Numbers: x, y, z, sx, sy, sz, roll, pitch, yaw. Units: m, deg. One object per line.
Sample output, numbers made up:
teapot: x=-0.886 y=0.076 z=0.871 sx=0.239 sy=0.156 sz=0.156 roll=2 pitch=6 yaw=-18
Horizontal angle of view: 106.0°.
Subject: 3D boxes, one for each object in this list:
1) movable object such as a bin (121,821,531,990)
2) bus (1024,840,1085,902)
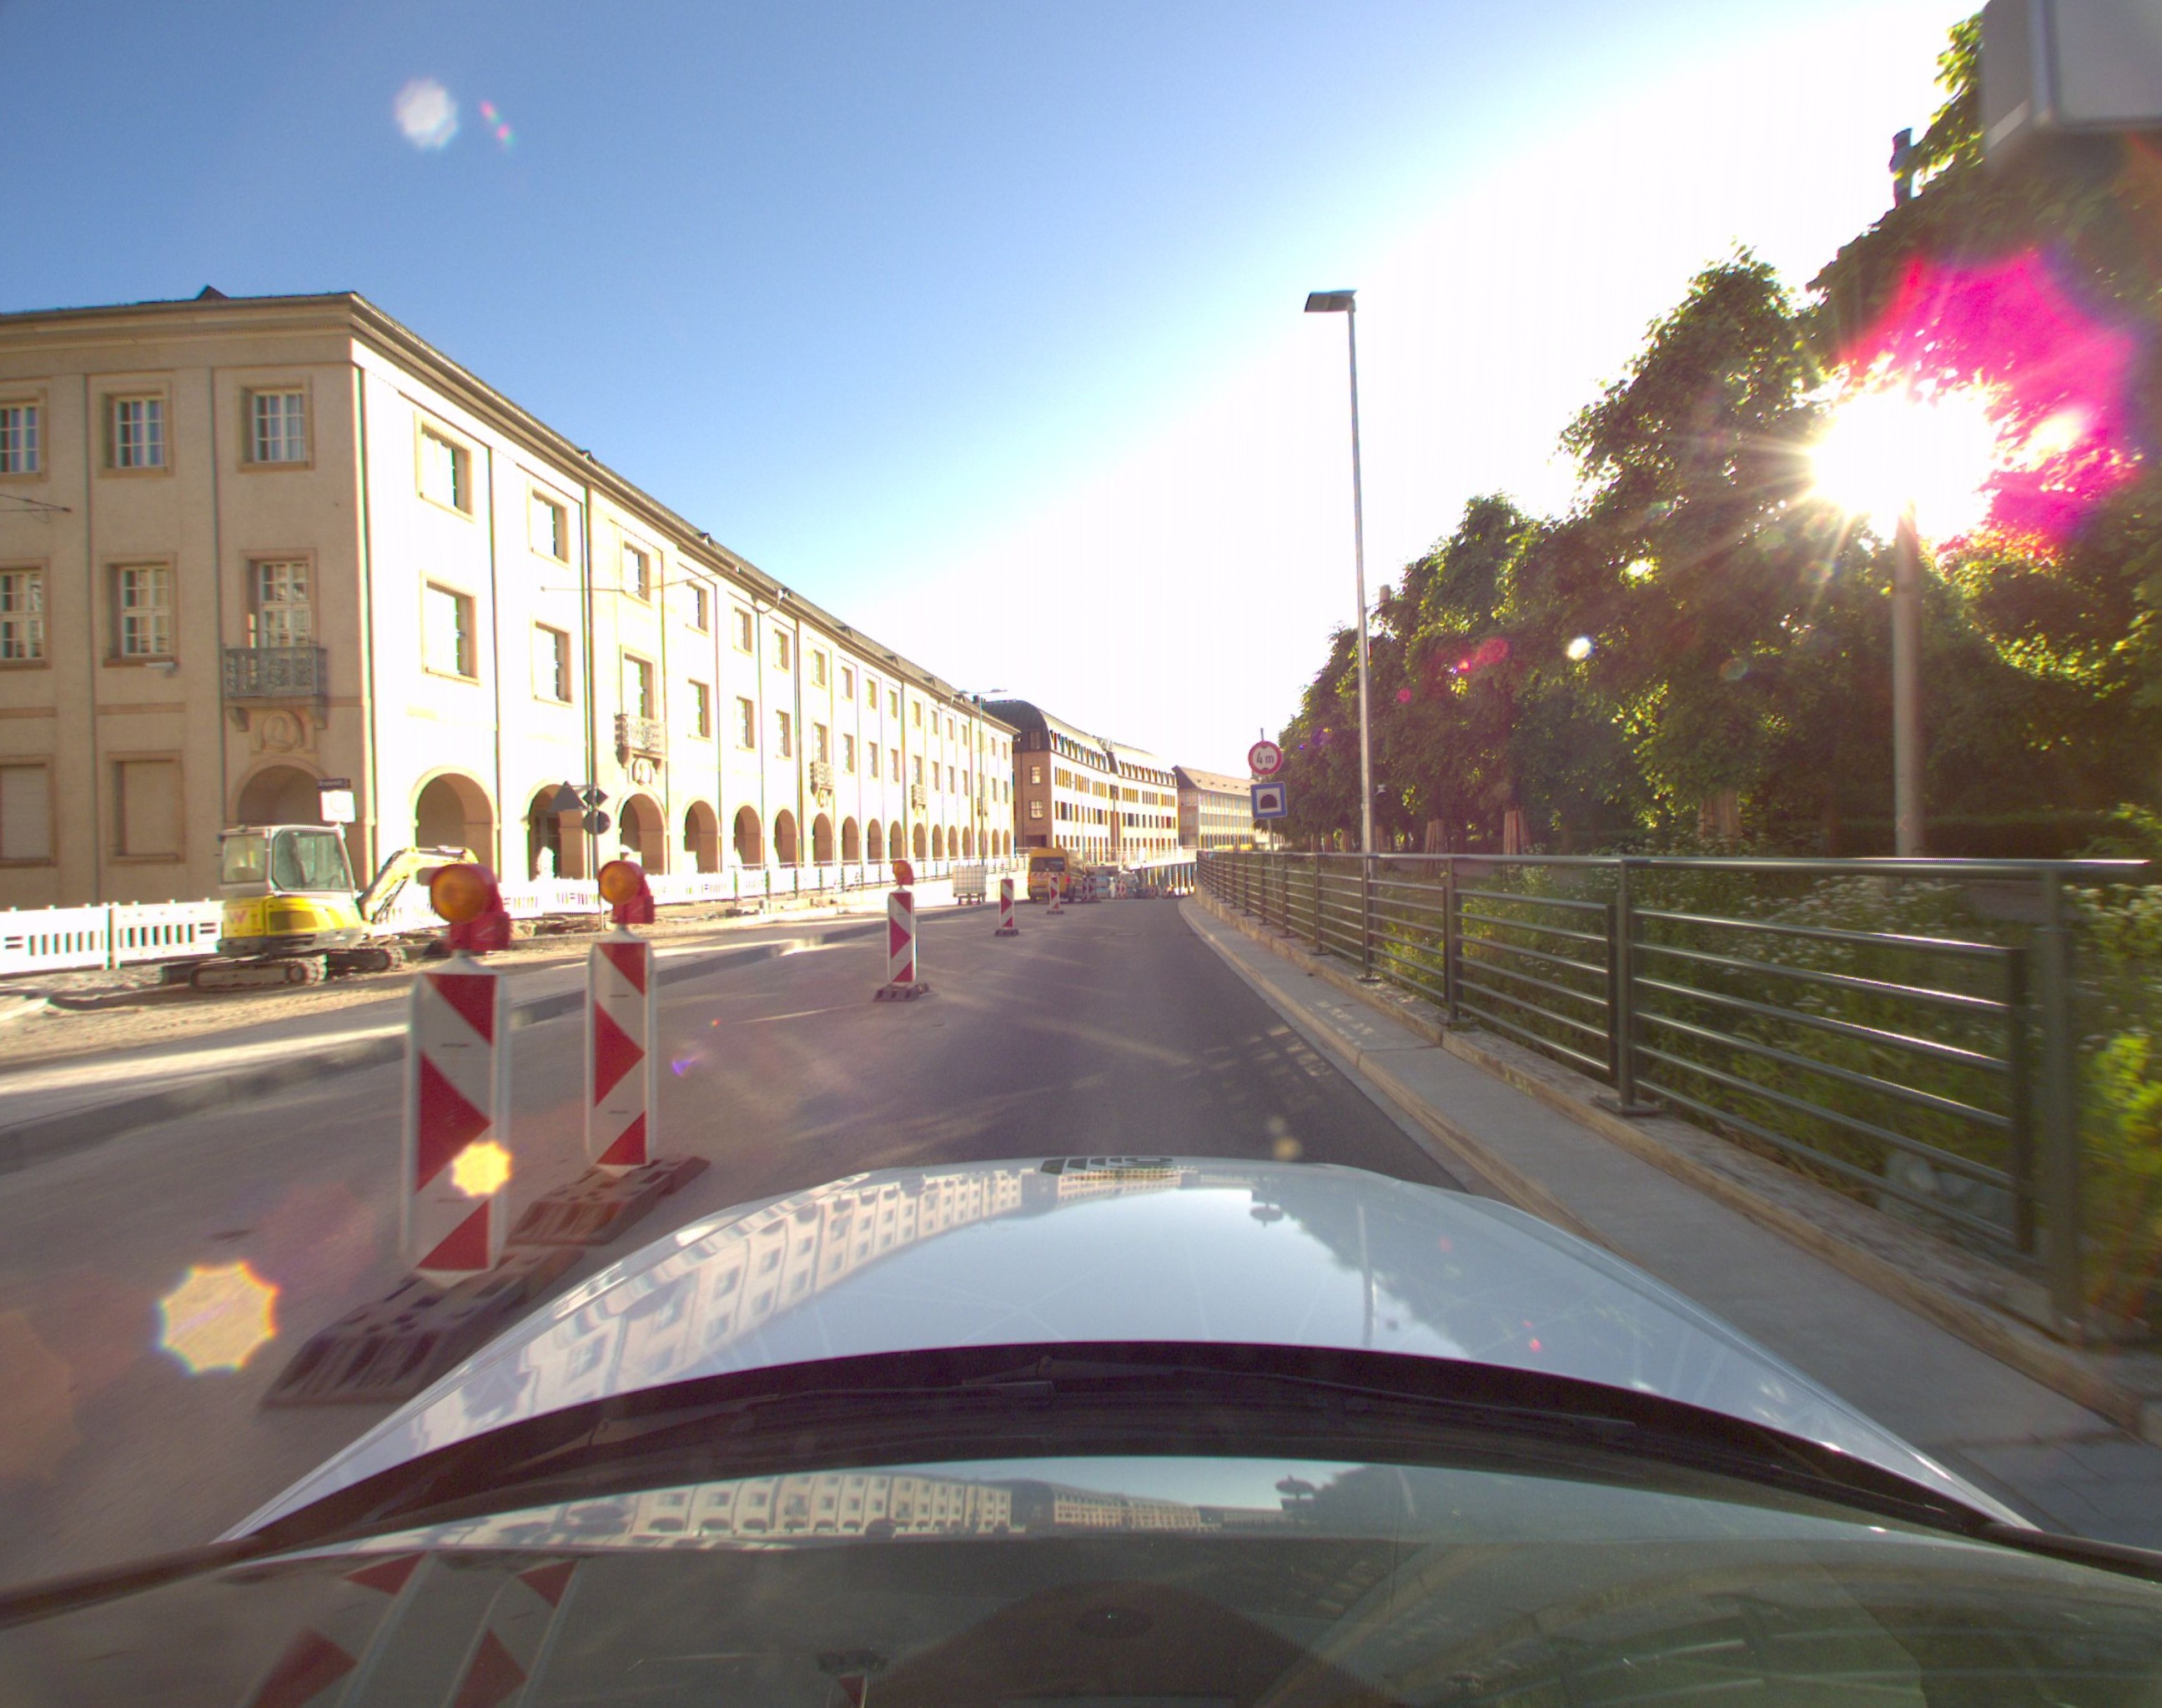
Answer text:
movable object such as a bin: x=-12.302 y=0.730 z=13.847 sx=2.533 sy=2.348 sz=4.467 roll=-2 pitch=0 yaw=6
bus: x=-1.184 y=0.815 z=38.183 sx=2.061 sy=2.687 sz=4.692 roll=-2 pitch=-2 yaw=7
